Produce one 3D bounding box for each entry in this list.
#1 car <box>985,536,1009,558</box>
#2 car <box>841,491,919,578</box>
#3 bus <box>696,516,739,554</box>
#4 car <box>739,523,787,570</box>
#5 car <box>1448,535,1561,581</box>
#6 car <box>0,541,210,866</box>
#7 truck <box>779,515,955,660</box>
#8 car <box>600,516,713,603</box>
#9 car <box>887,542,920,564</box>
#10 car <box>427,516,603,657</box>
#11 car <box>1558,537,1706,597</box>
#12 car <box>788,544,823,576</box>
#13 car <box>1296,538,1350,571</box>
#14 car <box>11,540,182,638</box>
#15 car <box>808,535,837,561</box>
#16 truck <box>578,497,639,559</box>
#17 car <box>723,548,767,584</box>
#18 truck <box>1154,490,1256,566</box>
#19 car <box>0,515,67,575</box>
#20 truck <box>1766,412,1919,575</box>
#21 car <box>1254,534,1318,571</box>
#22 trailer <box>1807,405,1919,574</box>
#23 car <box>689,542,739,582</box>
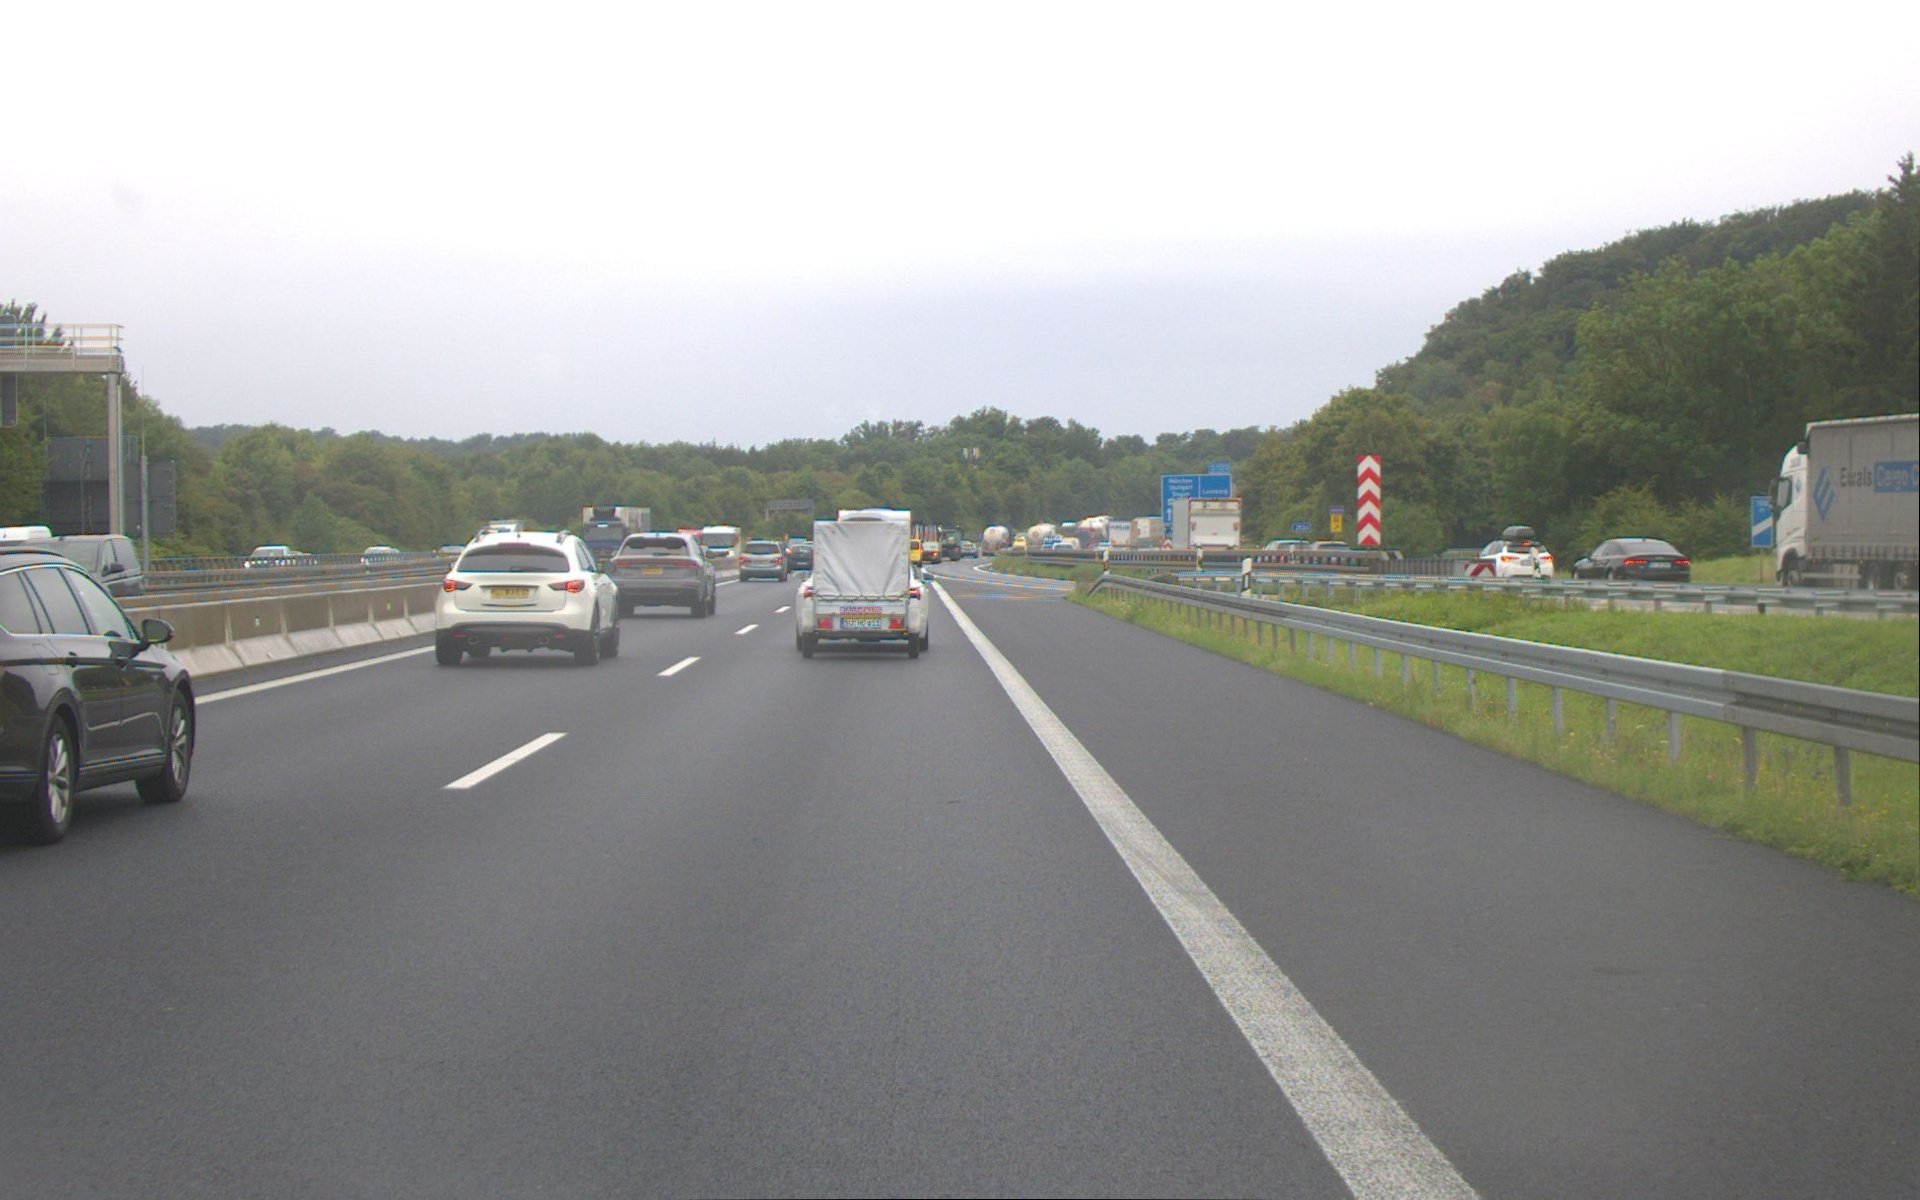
[{"bbox_3d":[2.703,-3.840,250.208,1.645,1.568,4.000,1,1,-1],"label":"car"},{"bbox_3d":[-2.621,-2.142,110.959,2.331,2.716,6.541,0,1,-3],"label":"car"},{"bbox_3d":[-17.259,-4.610,244.911,2.541,2.577,8.272,1,1,-1],"label":"bus"},{"bbox_3d":[-7.718,-2.107,134.887,1.738,1.787,4.000,1,1,-1],"label":"car"},{"bbox_3d":[16.759,-1.305,105.977,1.985,1.372,5.080,0,1,-9],"label":"car"},{"bbox_3d":[-5.283,0.429,17.859,1.787,1.454,4.803,1,1,-1],"label":"car"},{"bbox_3d":[-1.292,-0.224,47.361,2.242,1.833,6.585,1,1,-2],"label":"truck"},{"bbox_3d":[-6.172,-0.861,70.315,1.975,1.697,4.803,1,1,-1],"label":"car"},{"bbox_3d":[-4.064,-3.383,245.587,1.993,1.546,4.001,1,1,-6],"label":"car"},{"bbox_3d":[-5.544,-0.199,43.306,2.048,1.665,4.542,1,1,-6],"label":"car"},{"bbox_3d":[15.955,-0.801,81.898,1.986,1.372,5.320,0,1,-6],"label":"car"},{"bbox_3d":[-7.907,-2.062,176.185,1.645,1.568,4.000,1,1,-1],"label":"car"},{"bbox_3d":[14.495,-1.814,137.430,1.697,1.284,3.535,1,1,-1],"label":"car"},{"bbox_3d":[-15.552,-0.236,62.163,1.993,1.645,5.027,1,1,-2],"label":"car"},{"bbox_3d":[-8.539,-3.218,213.868,1.645,1.568,4.000,1,1,-1],"label":"car"},{"bbox_3d":[-20.801,-4.236,203.845,2.808,3.512,10.642,1,1,-2],"label":"truck"},{"bbox_3d":[-9.967,-1.597,159.810,1.819,1.656,4.017,0,1,-1],"label":"car"},{"bbox_3d":[12.154,-3.578,171.585,3.824,3.646,8.273,1,1,-5],"label":"truck"},{"bbox_3d":[-35.316,-2.068,129.405,1.993,2.206,5.716,0,1,-1],"label":"car"},{"bbox_3d":[20.788,-2.352,77.978,2.937,3.515,5.929,1,1,-7],"label":"truck"},{"bbox_3d":[11.689,-1.714,123.490,1.539,1.284,3.536,1,1,-7],"label":"car"},{"bbox_3d":[21.224,-2.317,74.103,2.937,3.515,8.422,1,1,-7],"label":"trailer"},{"bbox_3d":[-10.377,-1.610,145.249,1.819,1.656,4.017,0,1,-1],"label":"car"}]
